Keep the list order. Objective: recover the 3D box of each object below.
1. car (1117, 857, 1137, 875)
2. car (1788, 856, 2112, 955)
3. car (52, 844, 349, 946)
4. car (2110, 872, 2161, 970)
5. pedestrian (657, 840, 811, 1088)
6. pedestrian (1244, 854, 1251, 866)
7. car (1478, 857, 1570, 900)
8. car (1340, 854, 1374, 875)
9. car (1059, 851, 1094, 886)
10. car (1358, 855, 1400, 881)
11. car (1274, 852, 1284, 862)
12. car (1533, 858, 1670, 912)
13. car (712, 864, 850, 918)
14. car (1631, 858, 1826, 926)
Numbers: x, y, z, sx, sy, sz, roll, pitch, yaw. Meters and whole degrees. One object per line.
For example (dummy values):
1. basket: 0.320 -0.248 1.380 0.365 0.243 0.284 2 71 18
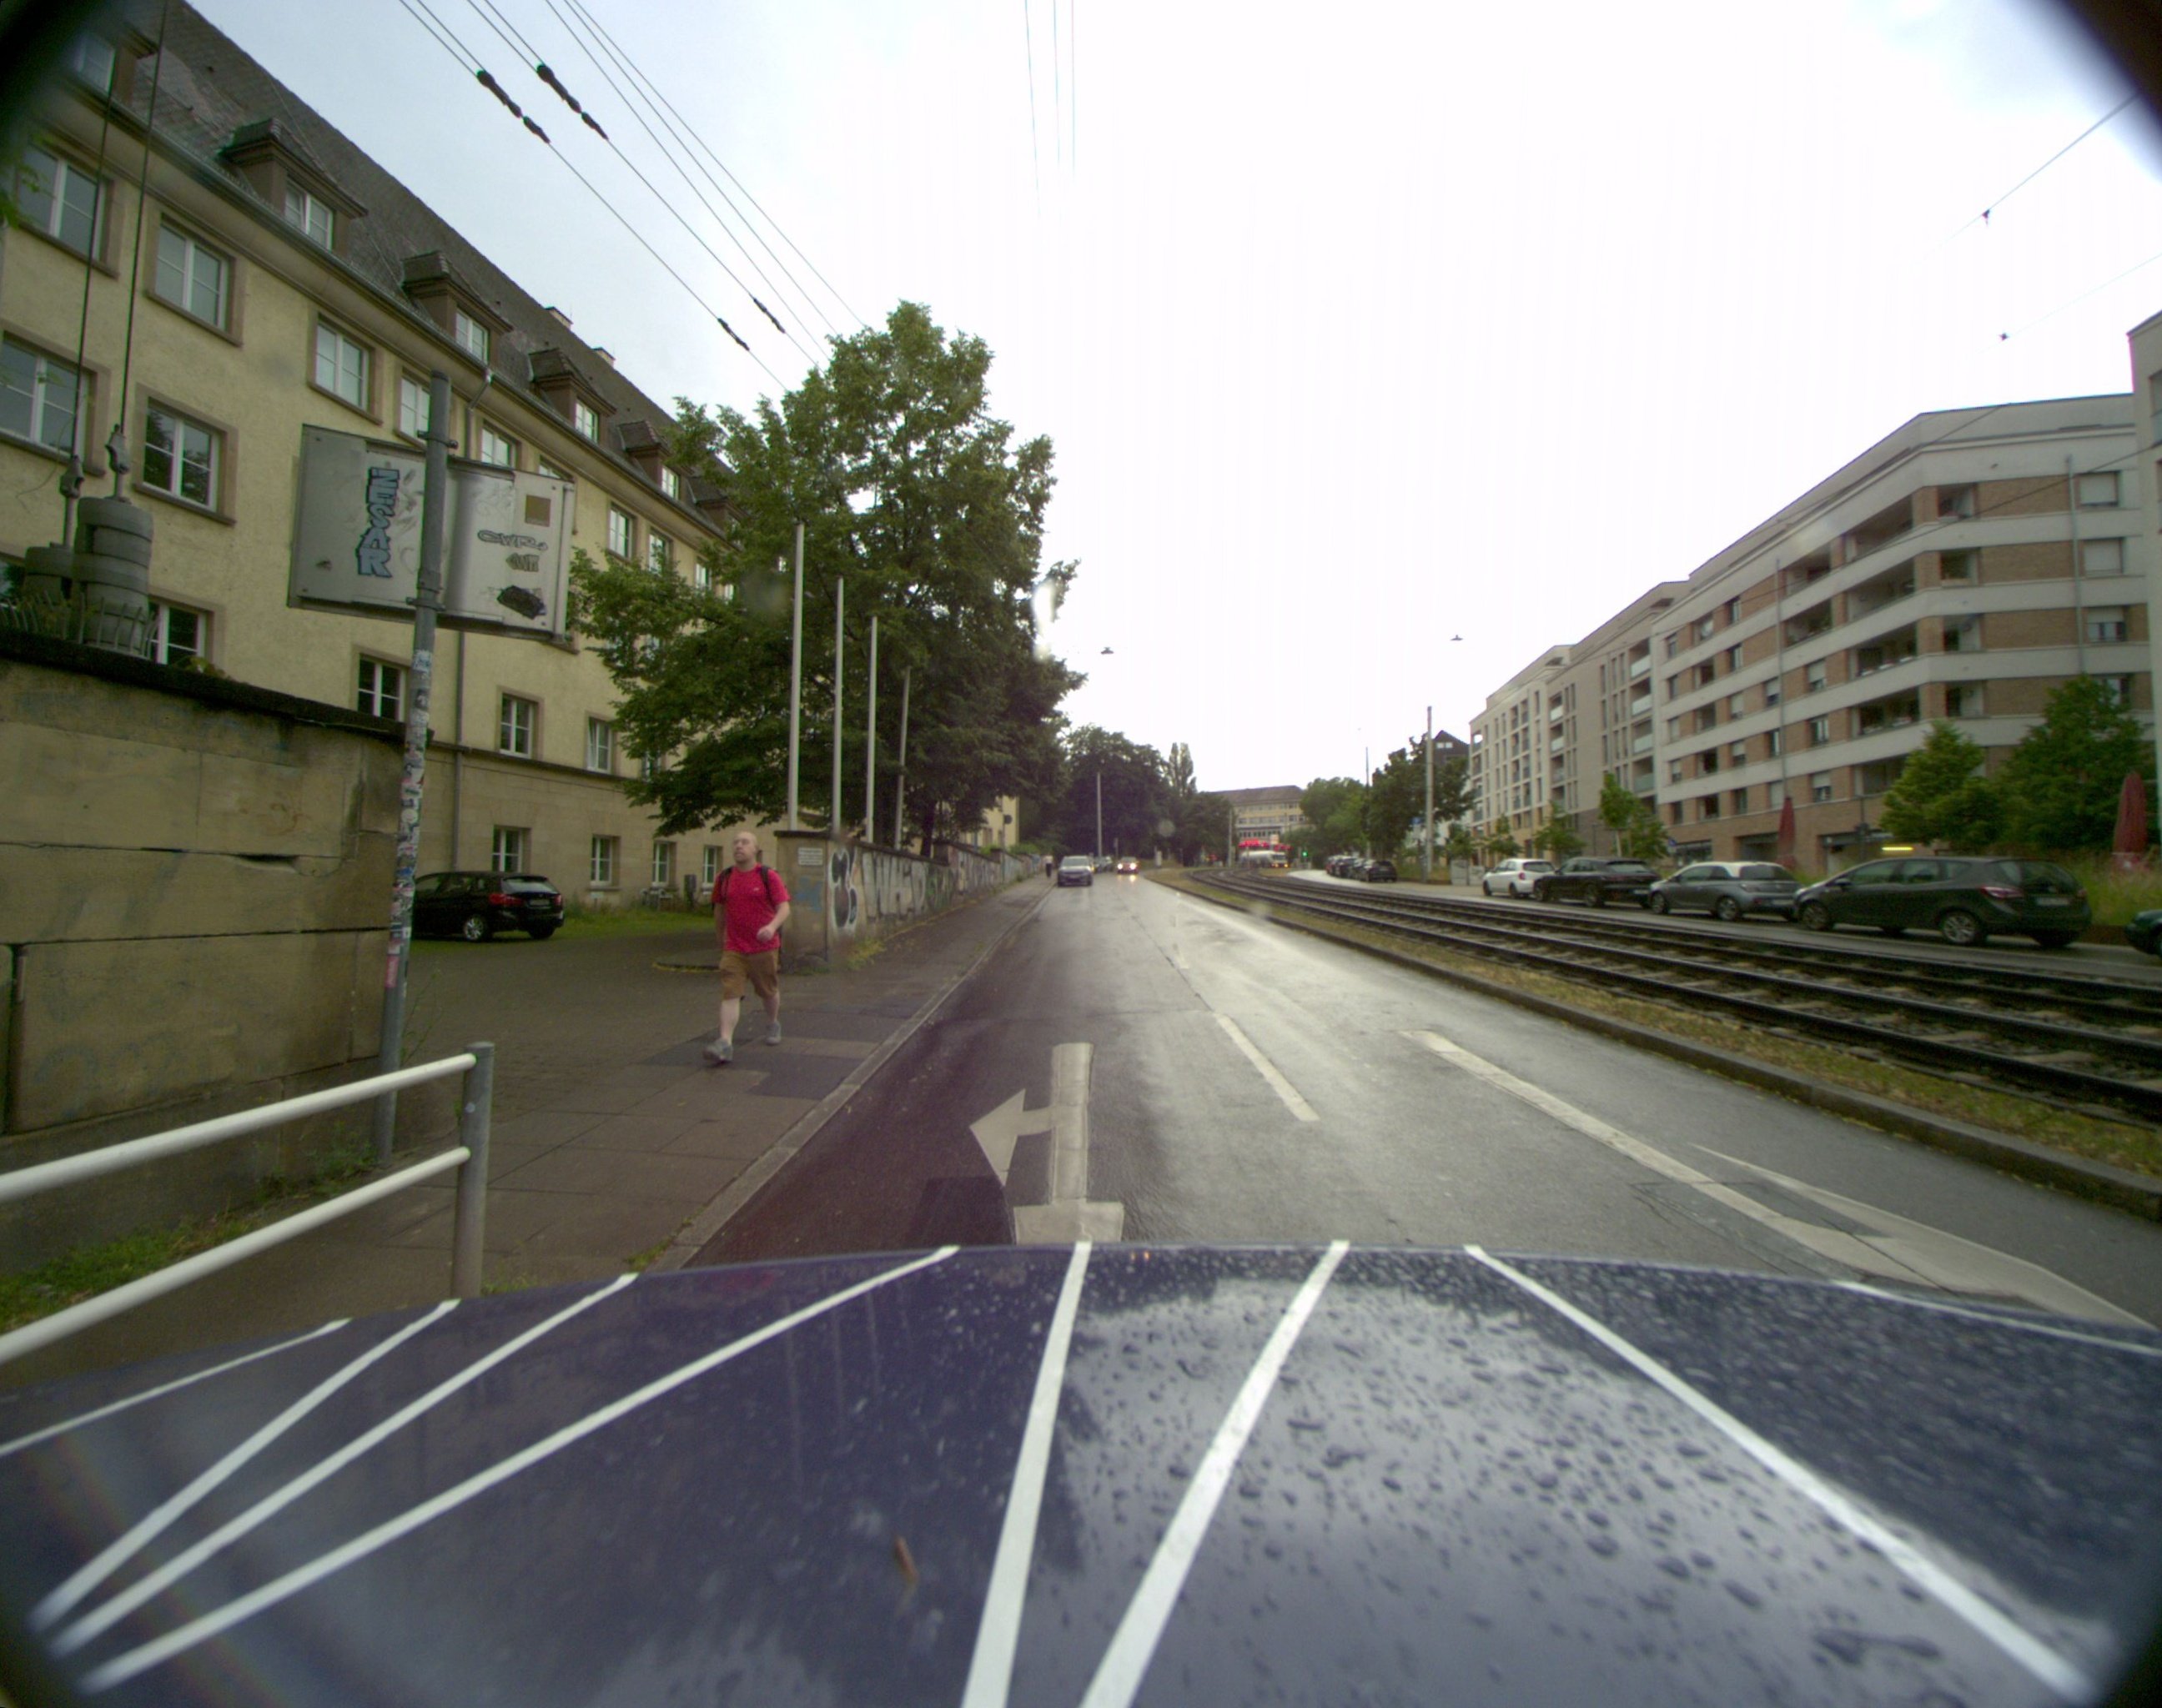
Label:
1. car: 4.024 1.059 66.985 1.594 1.455 3.669 0 1 0
2. car: 16.170 0.860 14.498 1.684 1.554 3.928 -1 0 0
3. car: -14.315 0.653 12.398 3.908 1.461 1.614 -2 1 16
4. car: 16.364 0.970 9.450 1.684 1.372 4.032 -1 0 0
5. pedestrian: -2.626 0.788 5.840 0.748 1.754 0.818 2 0 0
6. pedestrian: 24.608 0.935 112.443 0.747 1.754 0.820 2 0 22
7. car: 17.039 0.898 29.432 1.649 1.496 3.782 -1 0 6
8. car: 20.478 0.755 56.432 1.653 1.455 3.672 -2 1 9
9. car: -0.230 0.735 40.925 1.726 1.676 3.866 -3 1 0
10. car: 19.008 0.854 48.593 1.653 1.455 3.672 -2 1 9
11. car: 35.088 0.548 134.640 1.666 1.597 3.812 -2 1 16
12. car: 16.556 0.920 24.447 1.683 1.496 4.406 -1 0 5
13. car: -11.319 1.383 28.800 4.526 1.769 1.824 -2 1 11
14. car: 16.550 0.903 19.703 1.684 1.496 3.928 -1 0 0
